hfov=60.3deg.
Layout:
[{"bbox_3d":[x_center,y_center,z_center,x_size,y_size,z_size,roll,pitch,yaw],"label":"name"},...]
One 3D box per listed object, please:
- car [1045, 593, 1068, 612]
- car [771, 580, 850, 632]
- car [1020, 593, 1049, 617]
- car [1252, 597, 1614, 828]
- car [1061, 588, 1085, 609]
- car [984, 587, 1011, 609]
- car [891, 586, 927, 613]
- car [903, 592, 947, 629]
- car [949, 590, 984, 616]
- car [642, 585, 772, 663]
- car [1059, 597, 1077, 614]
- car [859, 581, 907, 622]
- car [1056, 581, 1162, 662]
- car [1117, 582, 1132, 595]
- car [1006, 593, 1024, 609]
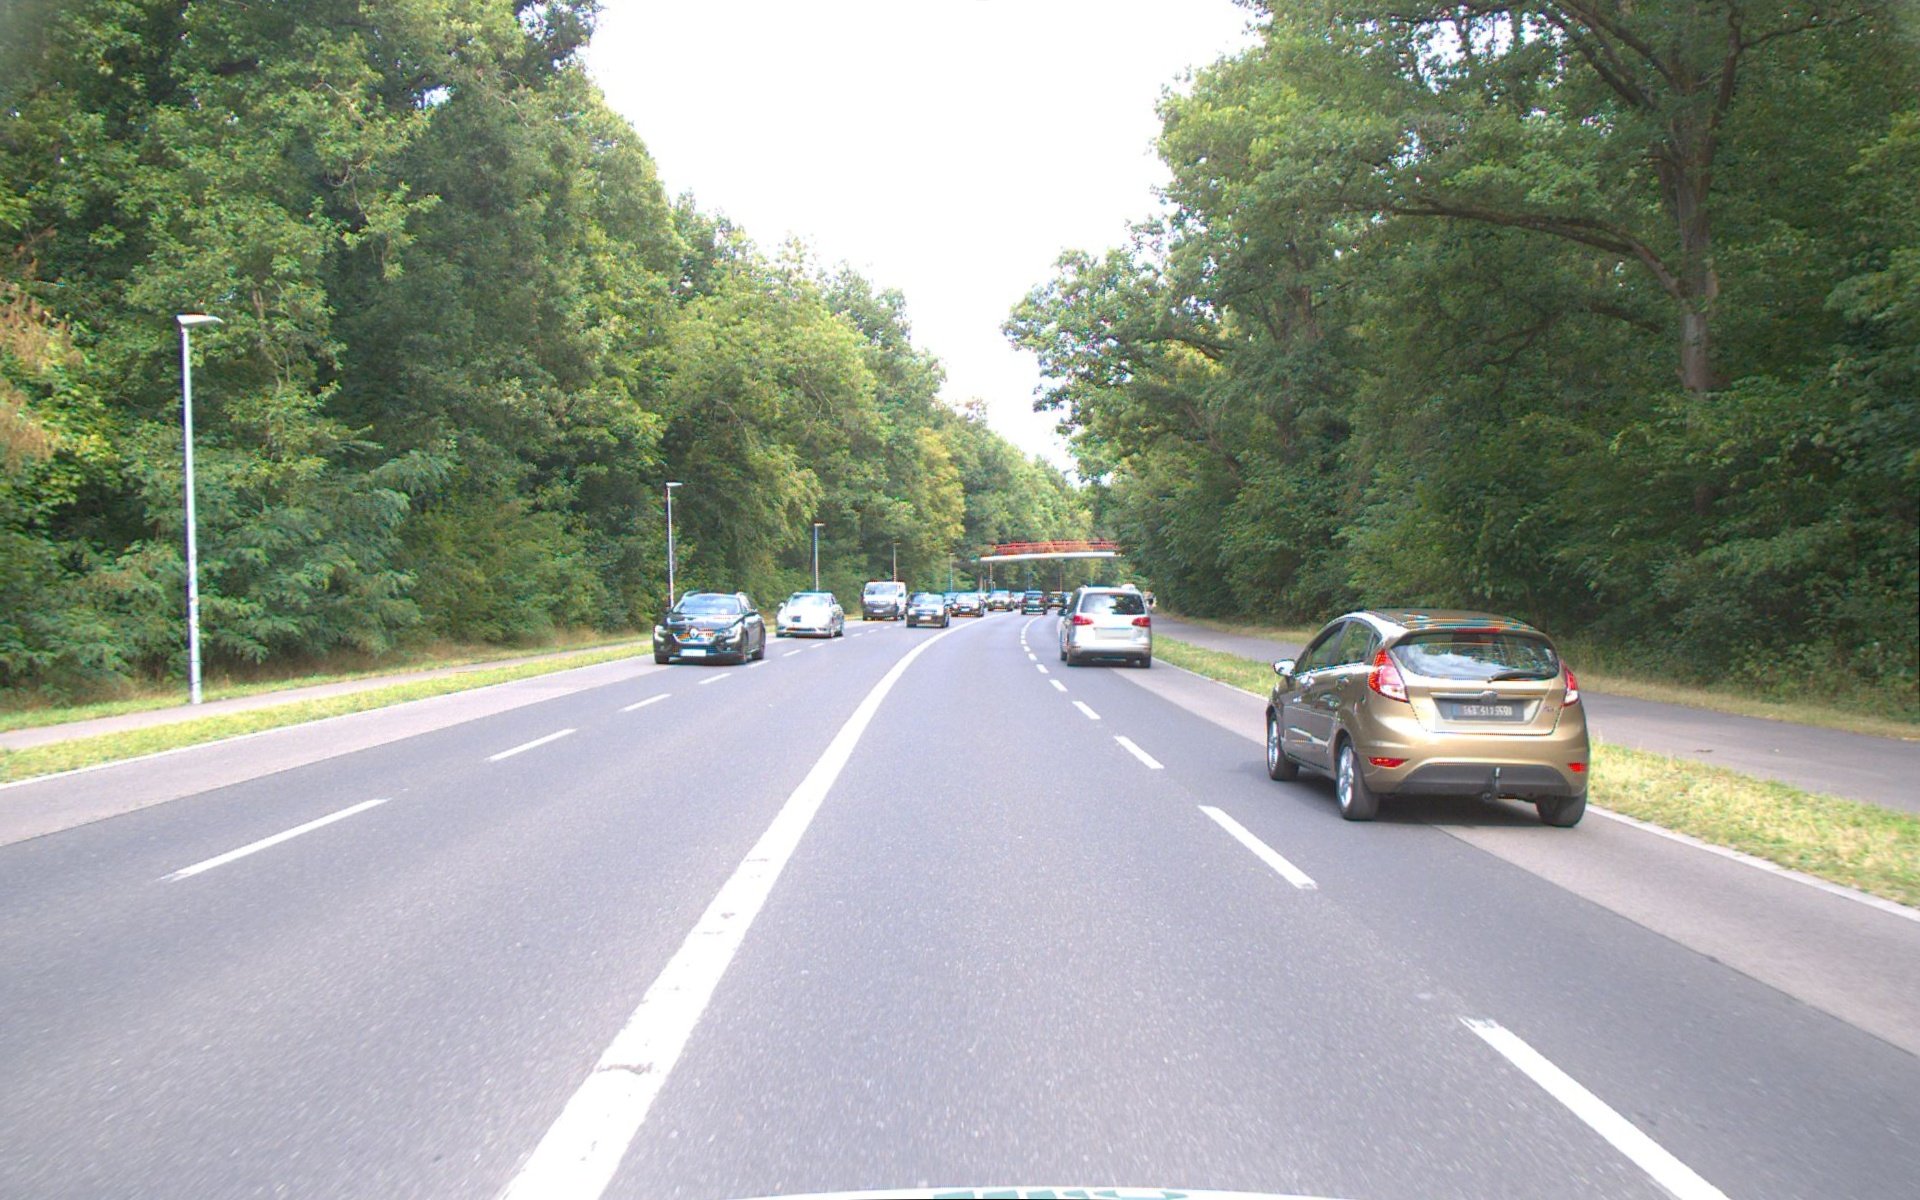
[{"bbox_3d":[9.202,0.277,157.687,1.951,1.727,4.002,2,-1,6],"label":"car"},{"bbox_3d":[-4.905,0.209,54.762,1.952,1.590,4.605,2,-1,2],"label":"car"},{"bbox_3d":[5.319,0.348,117.568,1.693,1.615,4.002,2,-1,6],"label":"car"},{"bbox_3d":[3.436,0.753,12.772,1.602,1.445,3.999,2,-1,0],"label":"car"},{"bbox_3d":[9.977,-0.115,145.722,1.951,1.780,4.002,2,-1,6],"label":"car"},{"bbox_3d":[3.037,-0.146,133.800,1.921,1.736,4.002,-2,-1,4],"label":"car"},{"bbox_3d":[-3.119,-0.039,102.538,1.846,1.585,4.520,1,-1,3],"label":"car"},{"bbox_3d":[-1.497,0.461,72.042,1.622,1.512,3.867,2,-1,2],"label":"car"},{"bbox_3d":[0.426,0.225,102.630,1.846,1.504,4.520,2,-1,3],"label":"car"},{"bbox_3d":[-5.222,0.501,34.734,1.842,1.468,4.404,2,-1,2],"label":"car"},{"bbox_3d":[11.249,0.585,172.315,1.780,1.593,4.001,2,-1,2],"label":"car"},{"bbox_3d":[-3.982,0.112,86.482,1.952,2.049,5.056,0,-1,3],"label":"car"},{"bbox_3d":[3.247,0.471,36.732,1.953,1.635,4.000,2,-1,0],"label":"car"},{"bbox_3d":[23.089,-1.578,231.647,1.951,1.735,4.003,0,0,8],"label":"car"},{"bbox_3d":[5.216,0.140,156.875,1.662,1.410,3.828,-2,-1,2],"label":"car"}]
